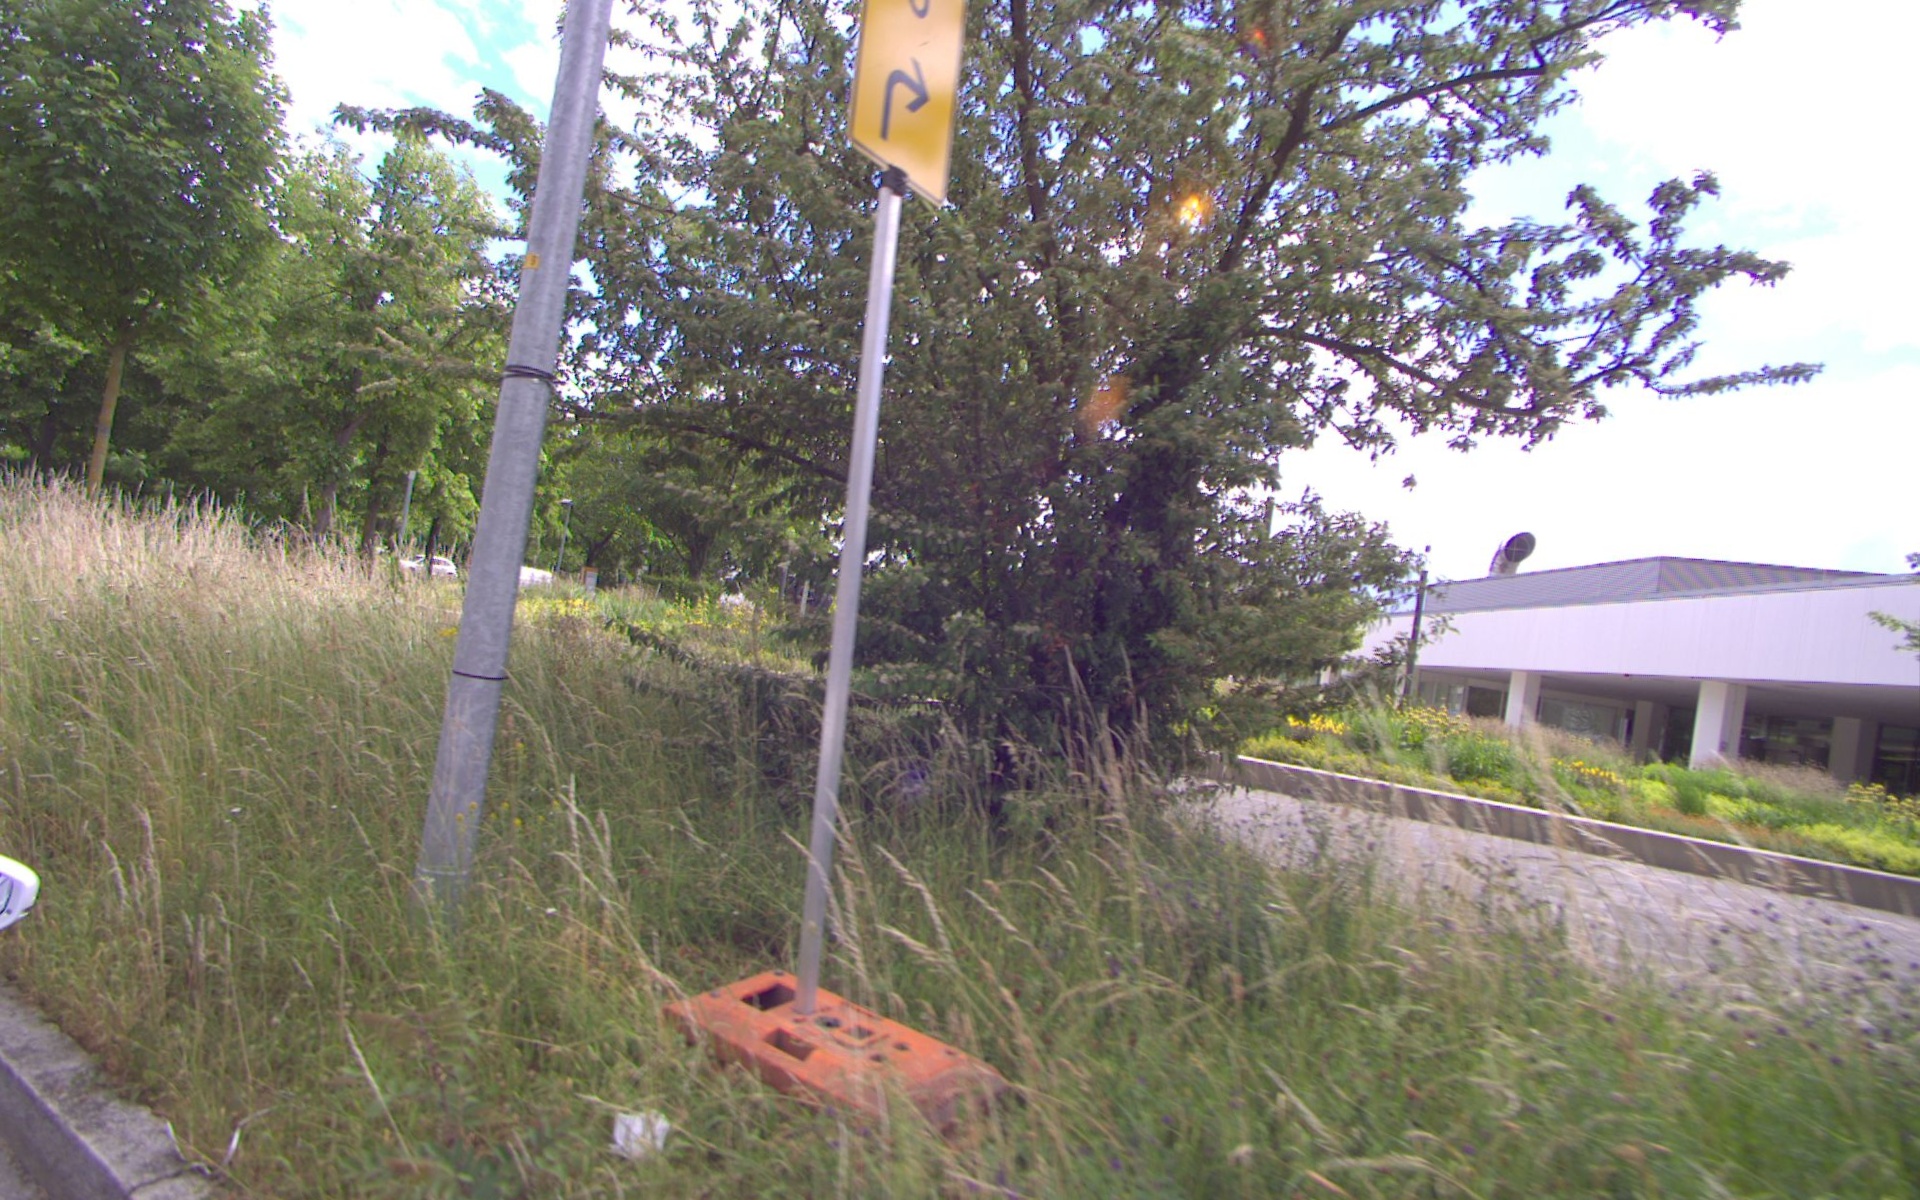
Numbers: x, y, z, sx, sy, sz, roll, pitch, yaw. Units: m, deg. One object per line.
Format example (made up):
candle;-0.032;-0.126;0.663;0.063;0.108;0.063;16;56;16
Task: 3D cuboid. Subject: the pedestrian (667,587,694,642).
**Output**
pedestrian;-10.295;0.540;37.095;0.399;1.973;0.577;8;-2;32

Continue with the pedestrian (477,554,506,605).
pedestrian;-16.971;-0.737;36.439;0.567;1.763;0.488;9;-1;-5
